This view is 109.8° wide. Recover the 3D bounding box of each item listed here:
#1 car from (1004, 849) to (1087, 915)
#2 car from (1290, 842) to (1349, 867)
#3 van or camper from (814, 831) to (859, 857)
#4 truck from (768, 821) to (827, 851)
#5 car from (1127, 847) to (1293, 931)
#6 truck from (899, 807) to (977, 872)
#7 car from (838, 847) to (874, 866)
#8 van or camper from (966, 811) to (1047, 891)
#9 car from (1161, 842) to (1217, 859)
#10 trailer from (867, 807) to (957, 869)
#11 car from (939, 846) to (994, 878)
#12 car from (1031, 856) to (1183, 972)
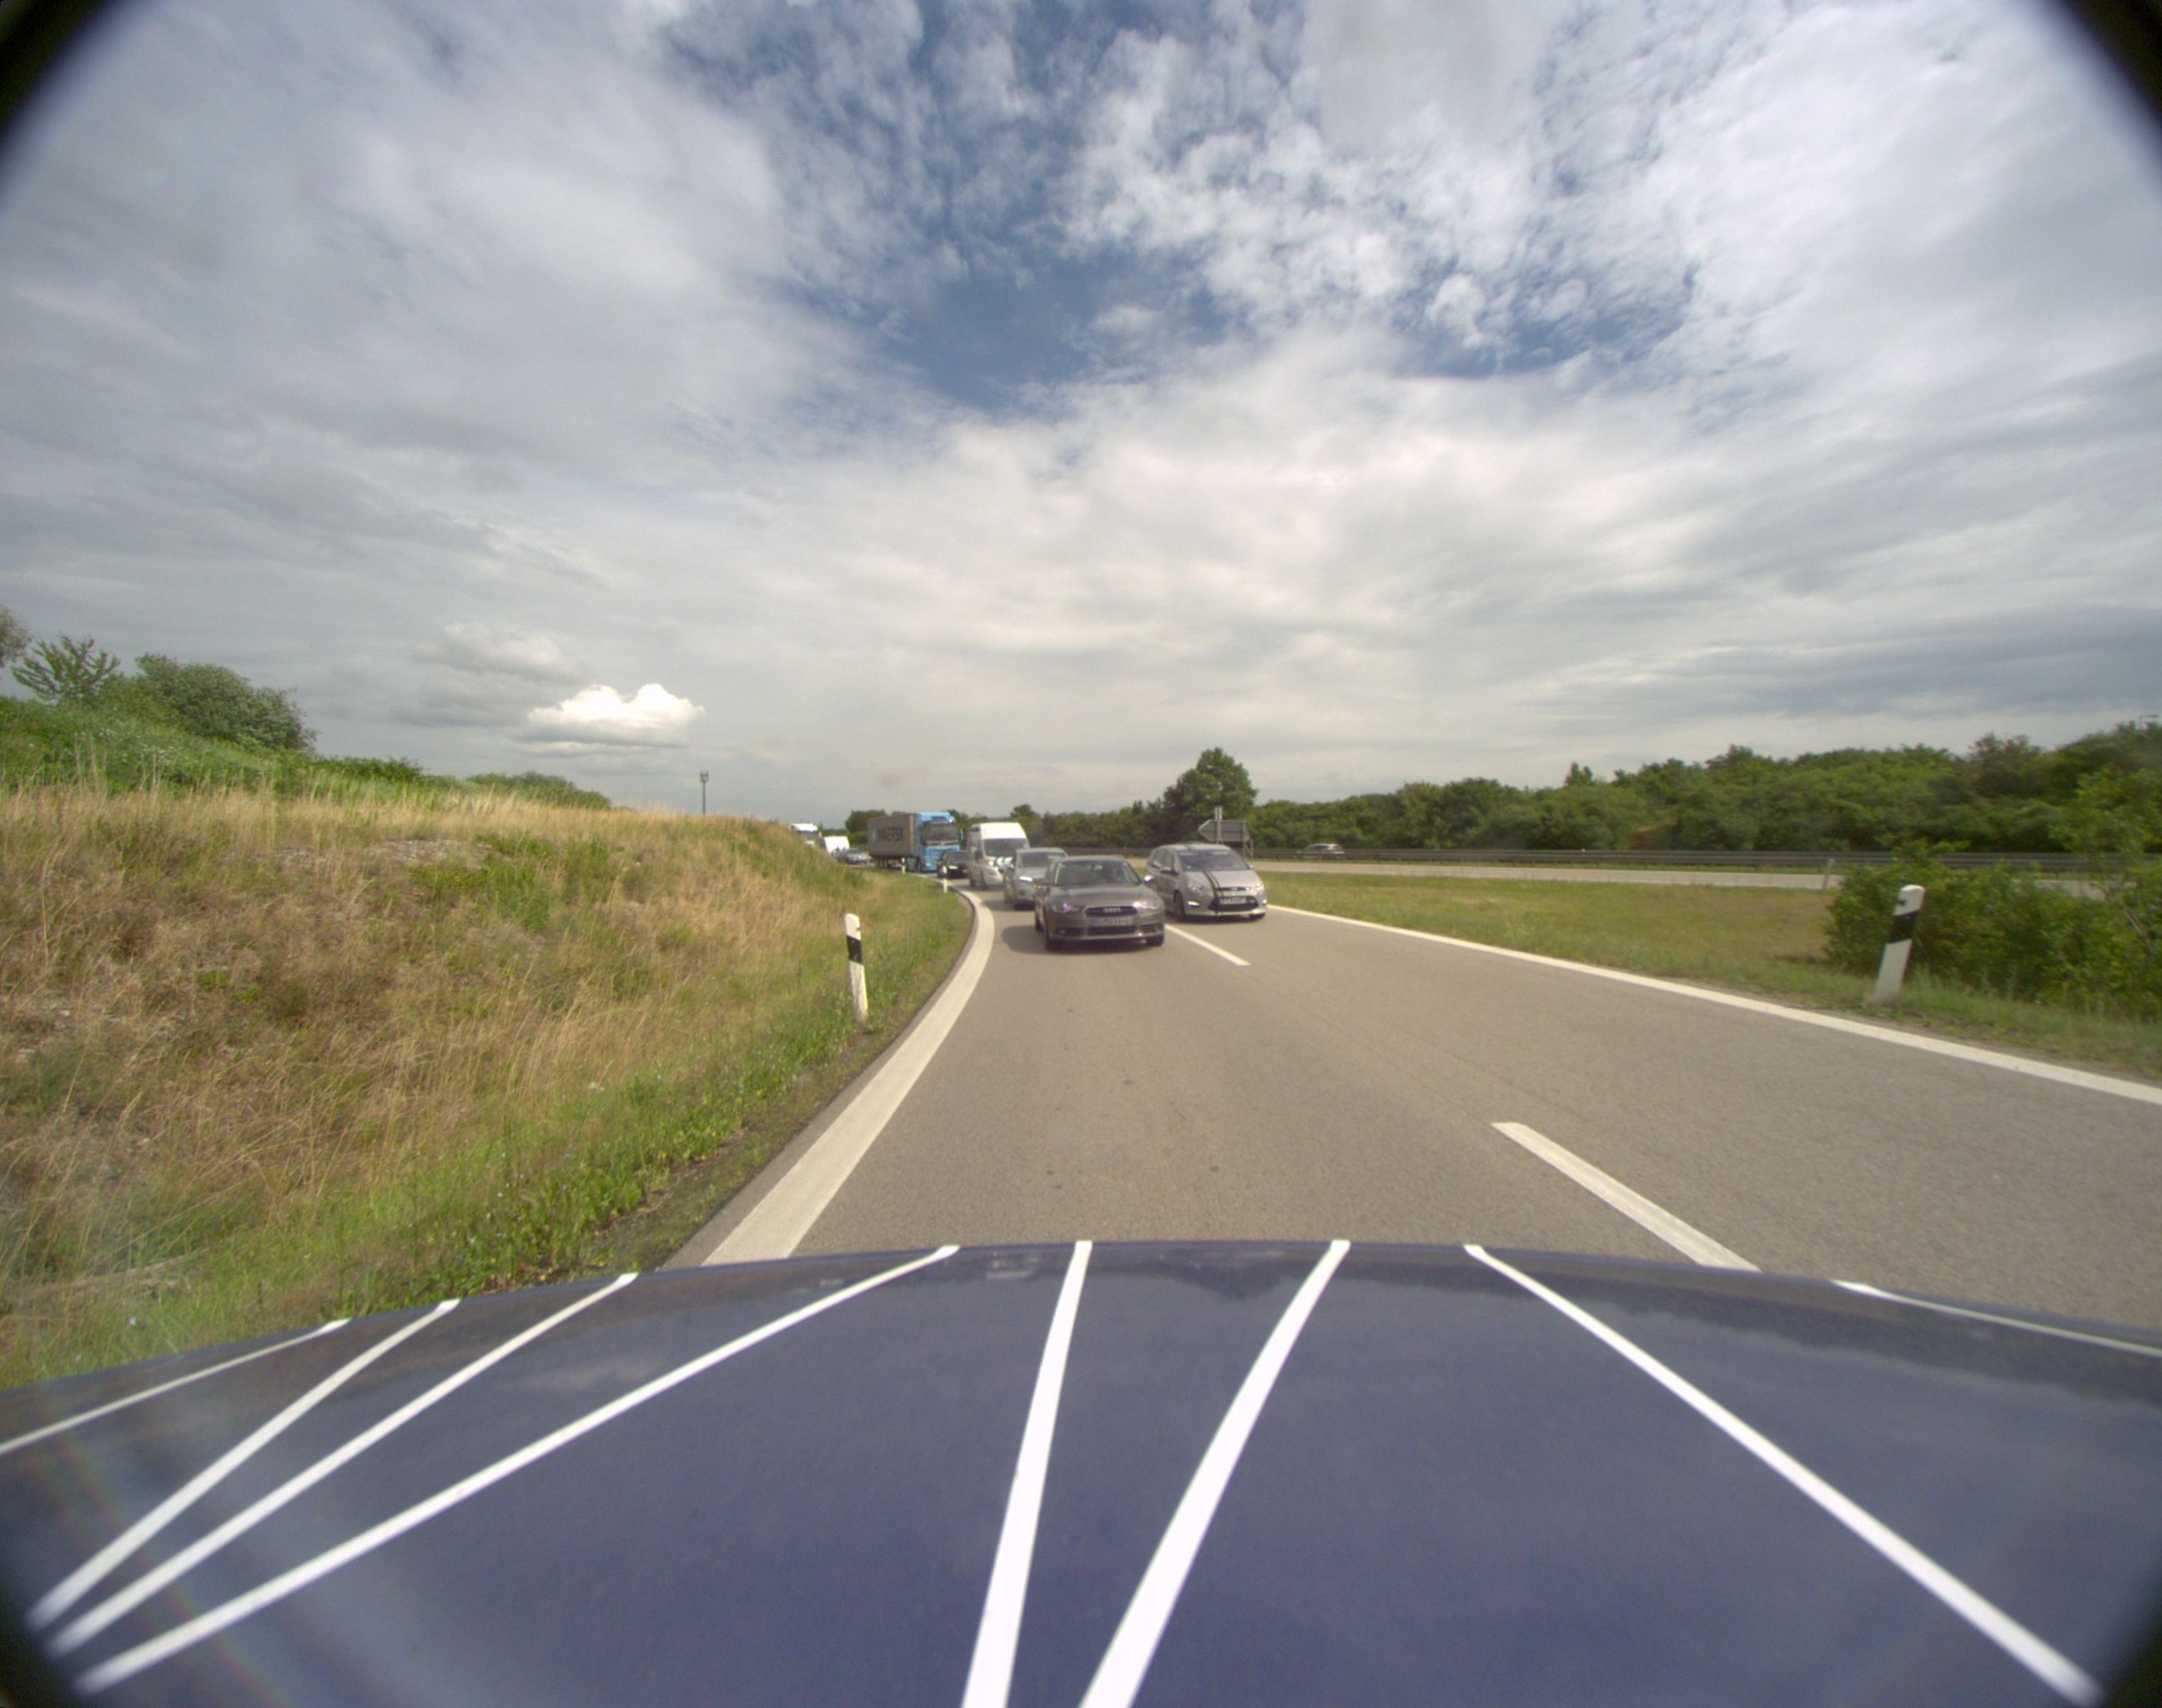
[{"bbox_3d":[-1.101,0.691,21.318,1.844,1.587,4.169,-1,1,-9],"label":"car"},{"bbox_3d":[19.120,0.050,61.049,1.847,1.862,4.195,-3,1,-37],"label":"car"},{"bbox_3d":[-23.720,-1.022,73.510,2.557,2.200,5.692,-3,5,-35],"label":"van or camper"},{"bbox_3d":[-32.554,-2.045,86.840,3.131,3.220,11.129,-2,2,-38],"label":"truck"},{"bbox_3d":[2.689,0.652,17.086,2.028,1.568,4.580,-1,1,-14],"label":"car"},{"bbox_3d":[-9.737,-0.934,50.992,3.184,4.050,6.632,-3,1,-28],"label":"truck"},{"bbox_3d":[-20.328,0.175,68.444,2.003,1.521,3.989,-2,3,-33],"label":"car"},{"bbox_3d":[-3.200,-0.142,31.405,2.400,2.892,5.713,-2,1,-14],"label":"van or camper"},{"bbox_3d":[7.909,-0.281,55.940,2.004,1.164,3.680,-1,1,-37],"label":"car"},{"bbox_3d":[-12.970,-1.121,57.141,3.280,4.137,11.989,-3,1,-29],"label":"trailer"},{"bbox_3d":[-6.269,0.394,41.150,2.002,1.609,3.991,-1,2,-23],"label":"car"},{"bbox_3d":[0.231,0.851,13.013,1.999,1.506,4.536,-2,1,-5],"label":"car"}]
